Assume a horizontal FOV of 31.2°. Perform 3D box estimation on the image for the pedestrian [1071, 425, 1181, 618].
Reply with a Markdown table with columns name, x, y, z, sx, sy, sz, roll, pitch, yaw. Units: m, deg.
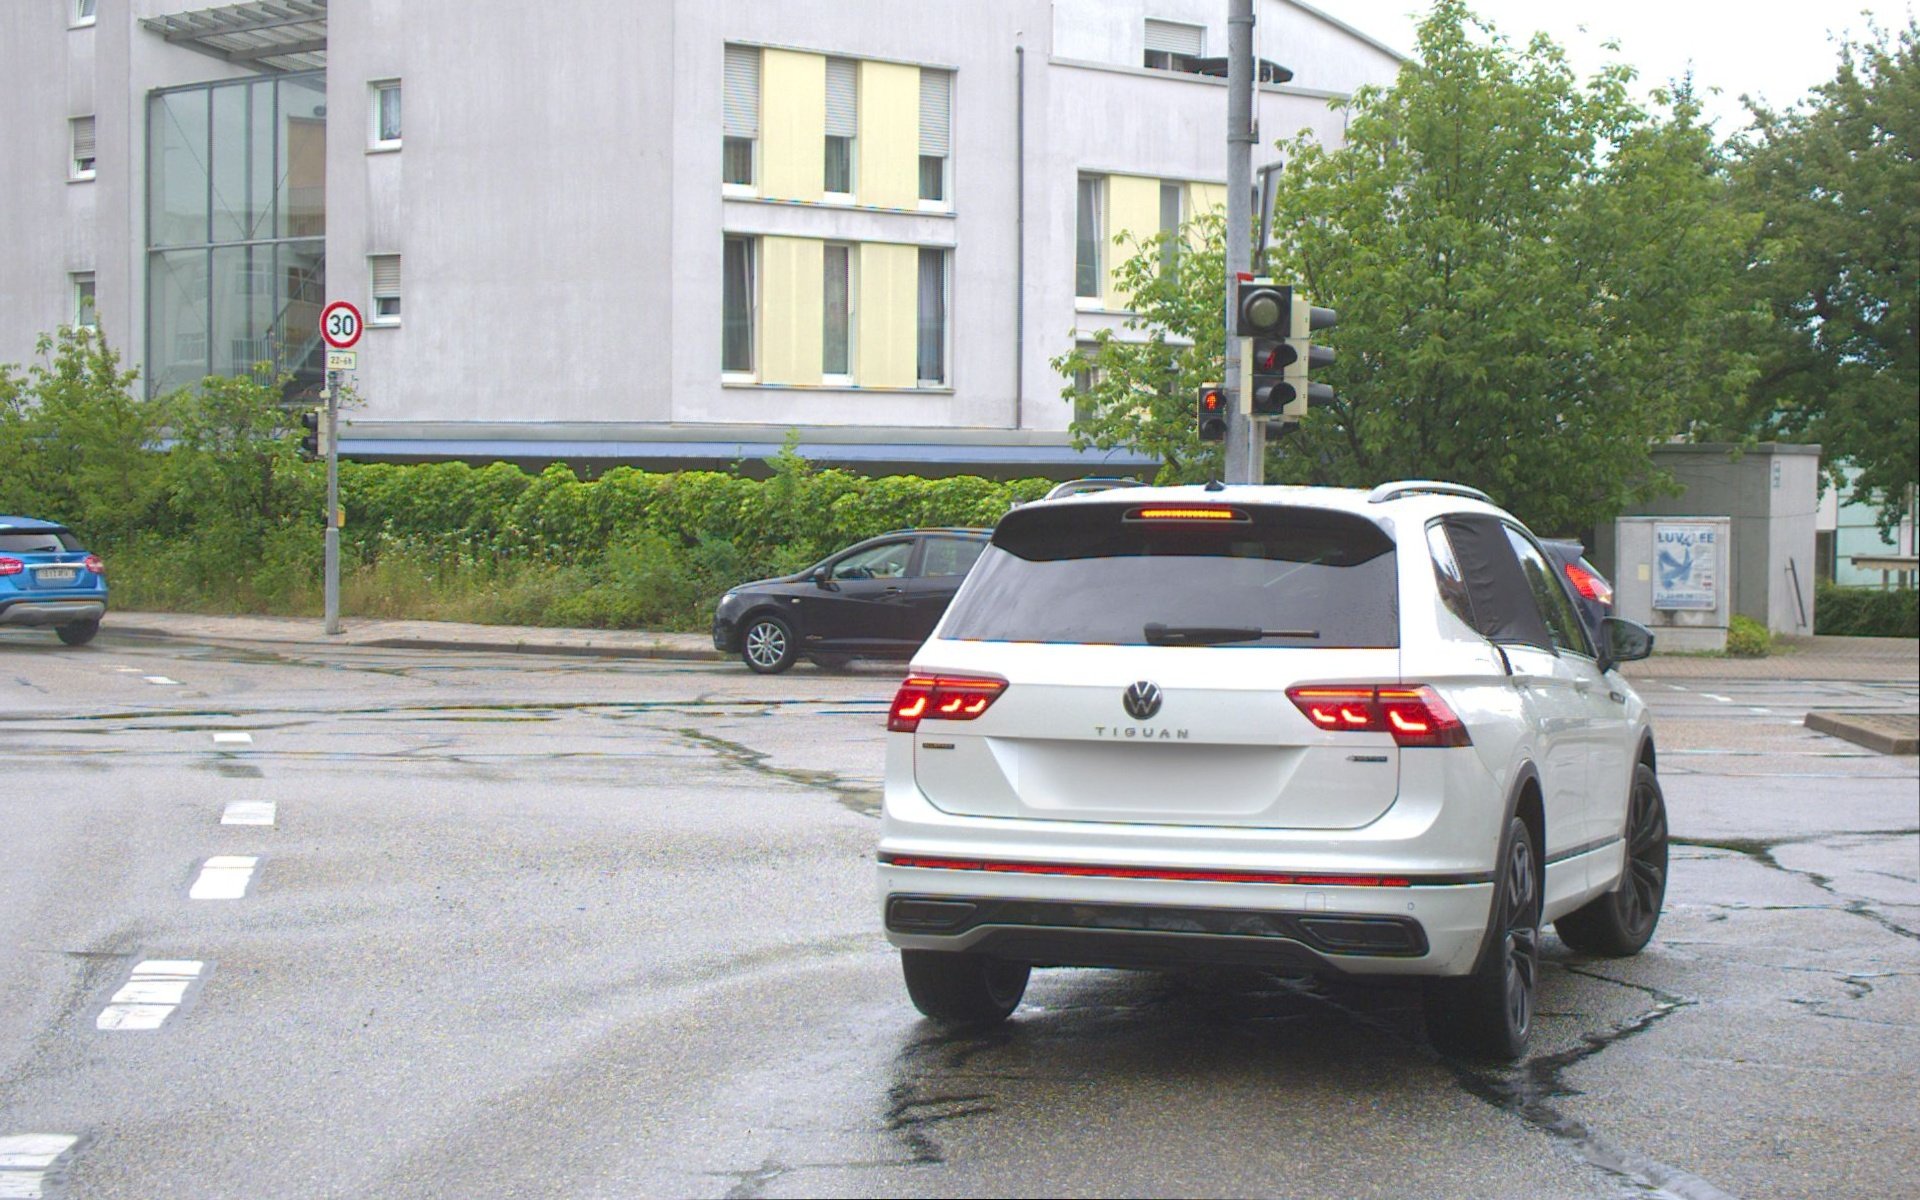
| name | x | y | z | sx | sy | sz | roll | pitch | yaw |
| --- | --- | --- | --- | --- | --- | --- | --- | --- | --- |
| pedestrian | 1.759 | -0.845 | 36.455 | 0.801 | 2.006 | 0.848 | 3 | 4 | 37 |

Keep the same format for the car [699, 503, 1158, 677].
| name | x | y | z | sx | sy | sz | roll | pitch | yaw |
| --- | --- | --- | --- | --- | --- | --- | --- | --- | --- |
| car | -0.295 | -0.120 | 33.495 | 3.991 | 1.546 | 1.998 | 0 | 3 | 23 |

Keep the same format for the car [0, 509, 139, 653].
| name | x | y | z | sx | sy | sz | roll | pitch | yaw |
| --- | --- | --- | --- | --- | --- | --- | --- | --- | --- |
| car | -11.777 | -0.274 | 40.519 | 3.996 | 1.550 | 1.996 | 2 | 3 | 37 |

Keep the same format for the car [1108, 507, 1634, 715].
| name | x | y | z | sx | sy | sz | roll | pitch | yaw |
| --- | --- | --- | --- | --- | --- | --- | --- | --- | --- |
| car | 3.212 | 0.058 | 27.532 | 3.987 | 1.495 | 1.926 | 2 | 1 | 2 |

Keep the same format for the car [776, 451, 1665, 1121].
| name | x | y | z | sx | sy | sz | roll | pitch | yaw |
| --- | --- | --- | --- | --- | --- | --- | --- | --- | --- |
| car | 1.069 | 0.438 | 11.183 | 1.922 | 1.716 | 4.261 | 1 | 1 | 18 |
